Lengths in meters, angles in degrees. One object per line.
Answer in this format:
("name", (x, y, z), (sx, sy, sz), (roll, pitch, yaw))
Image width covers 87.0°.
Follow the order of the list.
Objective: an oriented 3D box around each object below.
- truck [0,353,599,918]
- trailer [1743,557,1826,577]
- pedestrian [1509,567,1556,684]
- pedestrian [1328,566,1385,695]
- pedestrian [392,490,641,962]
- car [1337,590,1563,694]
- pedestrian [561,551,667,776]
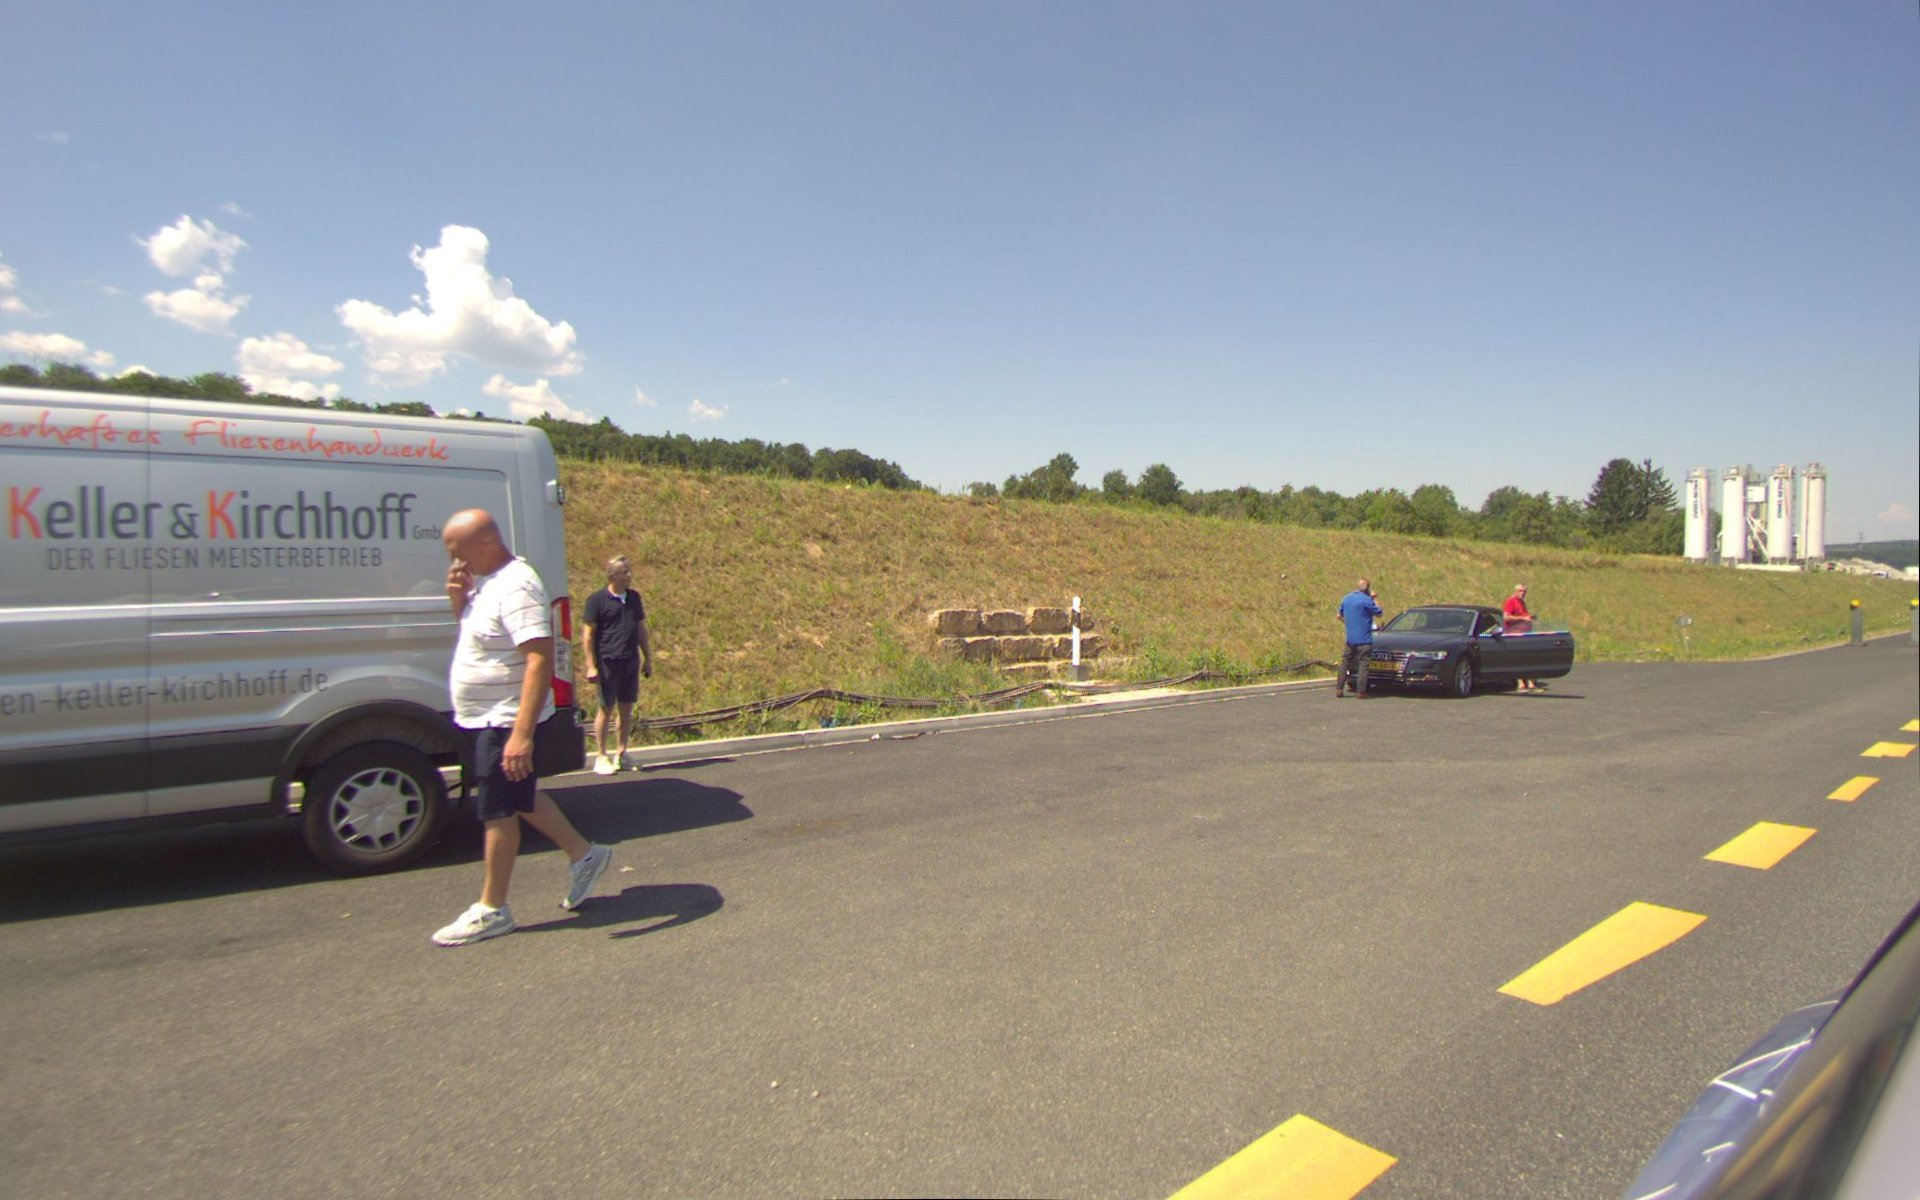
("truck", (-5.099, 0.158, 5.162), (5.811, 2.488, 2.137), (0, -1, -34))
("trailer", (116.523, -4.642, 143.220), (2.424, 2.639, 8.902), (-1, 2, -44))
("pedestrian", (9.287, 0.408, 16.433), (0.637, 1.851, 0.553), (-1, -1, 29))
("pedestrian", (5.874, 0.442, 14.990), (0.623, 1.851, 0.634), (-1, -1, 38))
("pedestrian", (-1.944, 0.488, 4.467), (0.720, 1.851, 0.711), (-1, 0, 33))
("car", (8.160, 0.595, 16.660), (4.464, 1.444, 1.658), (0, 2, -40))
("pedestrian", (-2.943, 0.508, 8.608), (0.656, 1.818, 0.564), (-1, 0, -42))
